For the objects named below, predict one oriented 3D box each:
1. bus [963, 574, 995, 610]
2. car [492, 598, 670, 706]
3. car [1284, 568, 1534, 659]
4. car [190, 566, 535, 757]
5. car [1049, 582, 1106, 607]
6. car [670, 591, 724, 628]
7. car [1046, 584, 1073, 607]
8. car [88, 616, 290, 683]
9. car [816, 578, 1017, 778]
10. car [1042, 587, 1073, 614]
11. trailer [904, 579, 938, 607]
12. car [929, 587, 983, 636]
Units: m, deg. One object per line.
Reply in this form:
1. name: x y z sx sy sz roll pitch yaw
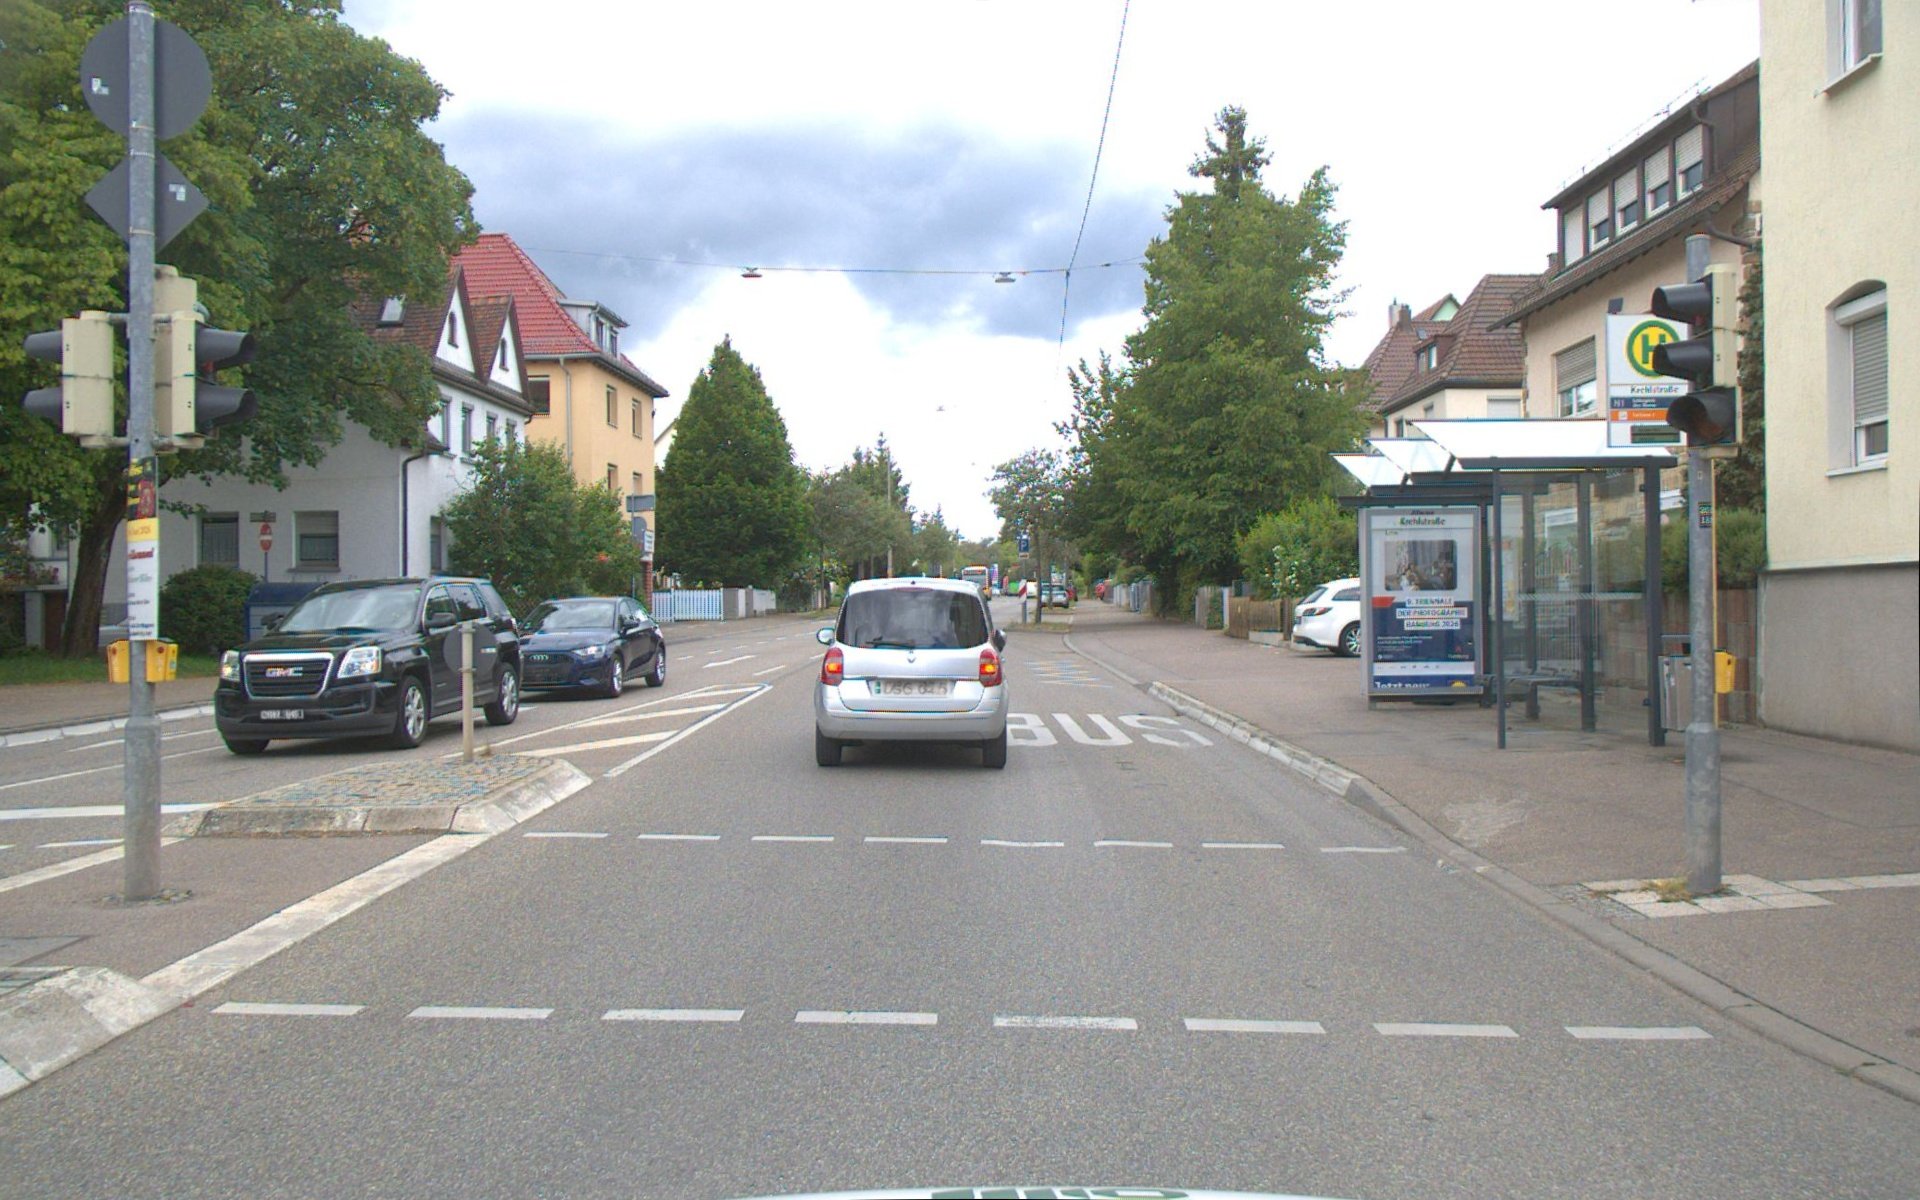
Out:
1. bus: 1.861 -0.783 157.380 2.577 3.140 12.073 -2 0 2
2. car: -5.529 0.737 24.594 1.531 1.445 4.131 -1 -1 2
3. car: 8.631 0.264 32.084 4.328 1.514 1.865 -3 -1 2
4. car: -6.069 0.596 17.446 1.721 1.663 4.596 -3 -1 3
5. car: 8.598 -0.419 121.354 3.910 1.522 1.808 -4 0 -5
6. car: -12.380 0.413 78.106 1.769 1.591 4.618 -3 1 0
7. car: 6.515 -0.316 108.267 1.627 1.417 3.670 -1 0 6
8. car: -18.200 1.161 39.153 3.905 1.355 1.722 -3 -1 1
9. car: -0.431 0.650 15.284 1.597 1.584 3.998 1 -1 -3
10. car: 5.265 0.039 89.067 1.615 1.406 4.002 0 -1 4
11. trailer: -3.021 -0.516 129.390 2.264 2.123 5.874 1 -1 2
12. car: -0.170 0.414 60.459 1.793 1.705 3.572 -1 0 -3
